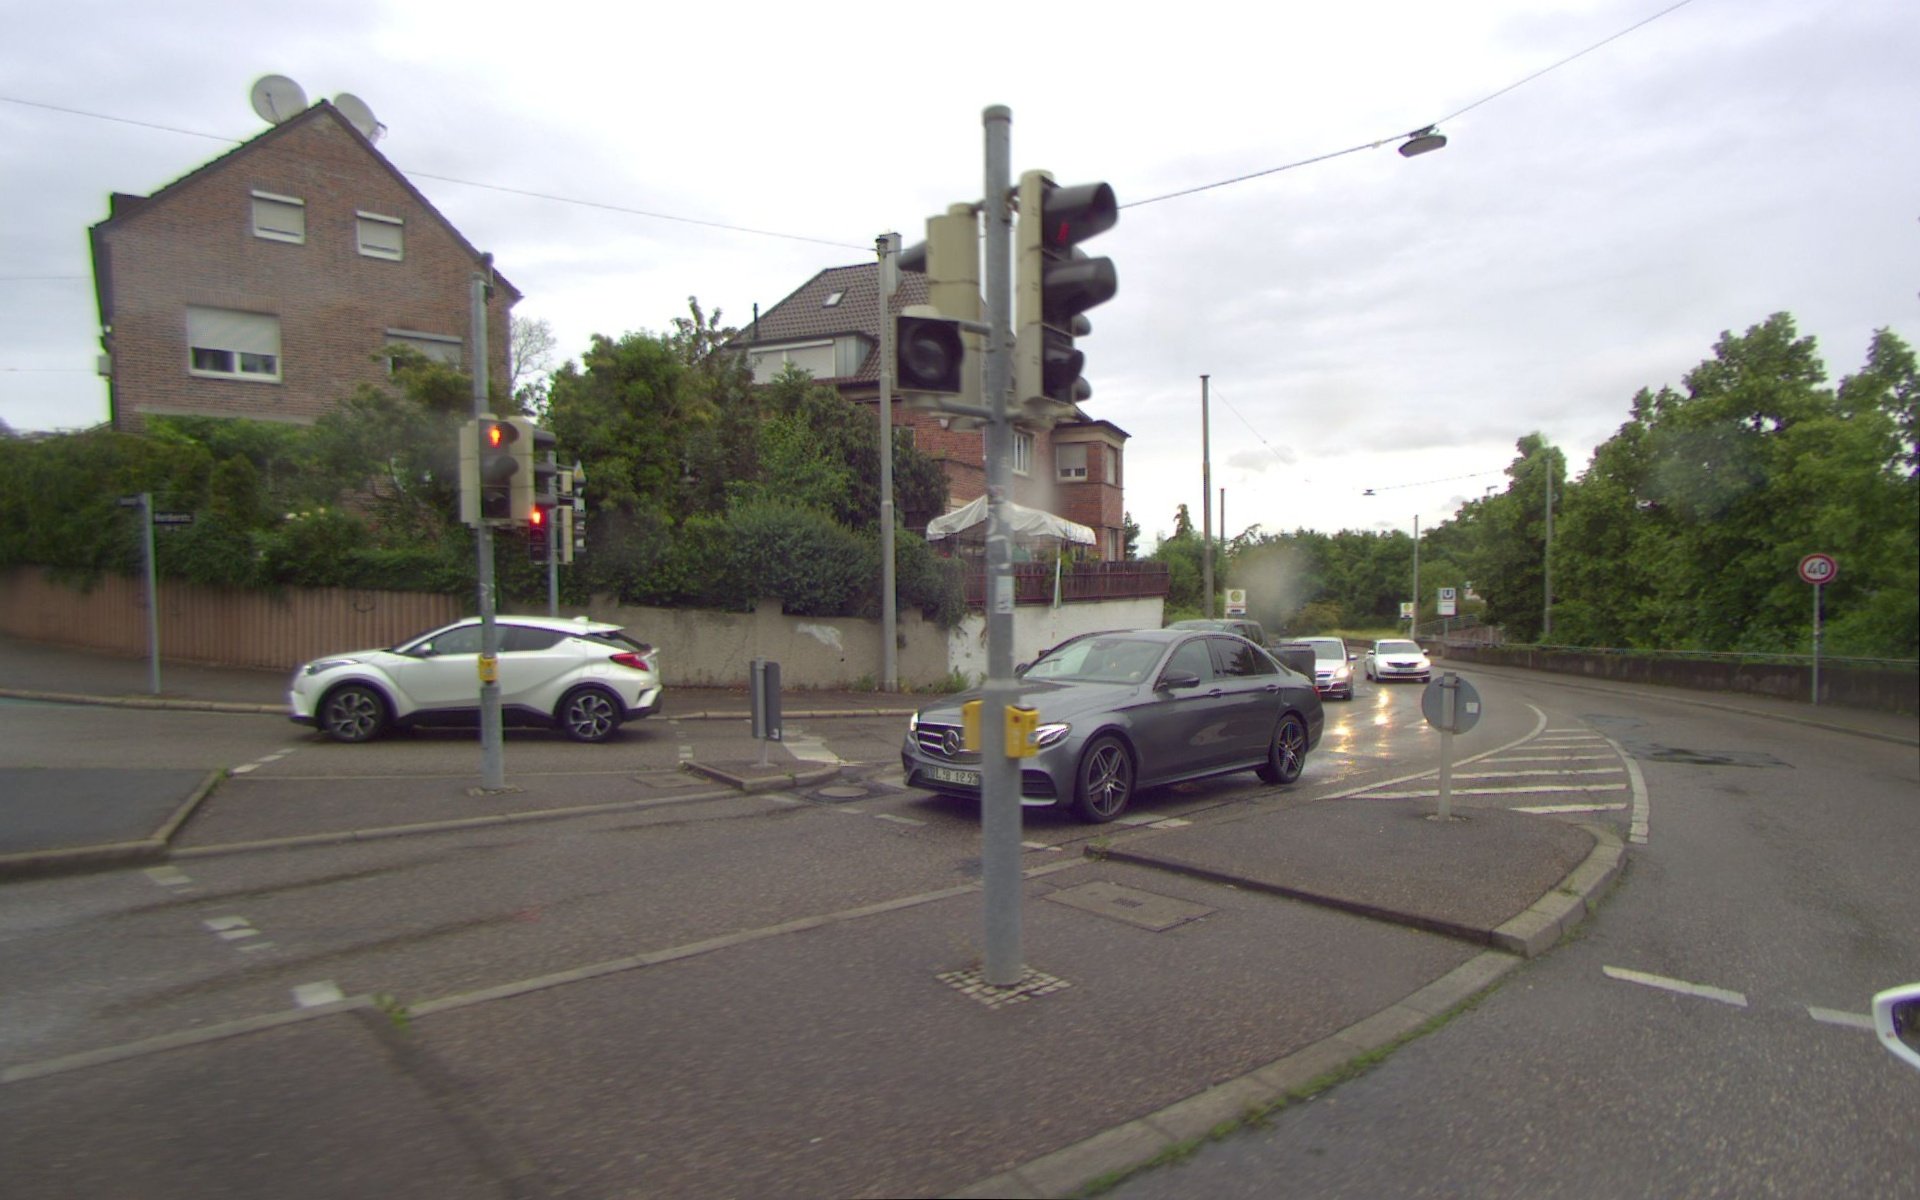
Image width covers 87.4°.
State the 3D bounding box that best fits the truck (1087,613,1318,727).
[{"bbox_3d":[4.761,1.305,19.130,1.863,1.872,5.248,-4,-5,44],"label":"truck"}]

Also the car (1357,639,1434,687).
[{"bbox_3d":[15.263,2.189,35.402,1.817,1.493,4.444,-3,-4,16],"label":"car"}]

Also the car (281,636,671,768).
[{"bbox_3d":[-5.907,1.214,12.816,4.189,1.486,1.708,1,-1,-15],"label":"car"}]

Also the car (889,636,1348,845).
[{"bbox_3d":[1.672,1.079,9.250,1.840,1.413,4.567,-4,-4,45],"label":"car"}]

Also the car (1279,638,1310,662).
[{"bbox_3d":[21.894,3.259,65.858,1.708,1.469,4.617,-3,-3,17],"label":"car"}]

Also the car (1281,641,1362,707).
[{"bbox_3d":[9.707,1.915,26.795,1.684,1.606,4.458,-1,-3,24],"label":"car"}]
